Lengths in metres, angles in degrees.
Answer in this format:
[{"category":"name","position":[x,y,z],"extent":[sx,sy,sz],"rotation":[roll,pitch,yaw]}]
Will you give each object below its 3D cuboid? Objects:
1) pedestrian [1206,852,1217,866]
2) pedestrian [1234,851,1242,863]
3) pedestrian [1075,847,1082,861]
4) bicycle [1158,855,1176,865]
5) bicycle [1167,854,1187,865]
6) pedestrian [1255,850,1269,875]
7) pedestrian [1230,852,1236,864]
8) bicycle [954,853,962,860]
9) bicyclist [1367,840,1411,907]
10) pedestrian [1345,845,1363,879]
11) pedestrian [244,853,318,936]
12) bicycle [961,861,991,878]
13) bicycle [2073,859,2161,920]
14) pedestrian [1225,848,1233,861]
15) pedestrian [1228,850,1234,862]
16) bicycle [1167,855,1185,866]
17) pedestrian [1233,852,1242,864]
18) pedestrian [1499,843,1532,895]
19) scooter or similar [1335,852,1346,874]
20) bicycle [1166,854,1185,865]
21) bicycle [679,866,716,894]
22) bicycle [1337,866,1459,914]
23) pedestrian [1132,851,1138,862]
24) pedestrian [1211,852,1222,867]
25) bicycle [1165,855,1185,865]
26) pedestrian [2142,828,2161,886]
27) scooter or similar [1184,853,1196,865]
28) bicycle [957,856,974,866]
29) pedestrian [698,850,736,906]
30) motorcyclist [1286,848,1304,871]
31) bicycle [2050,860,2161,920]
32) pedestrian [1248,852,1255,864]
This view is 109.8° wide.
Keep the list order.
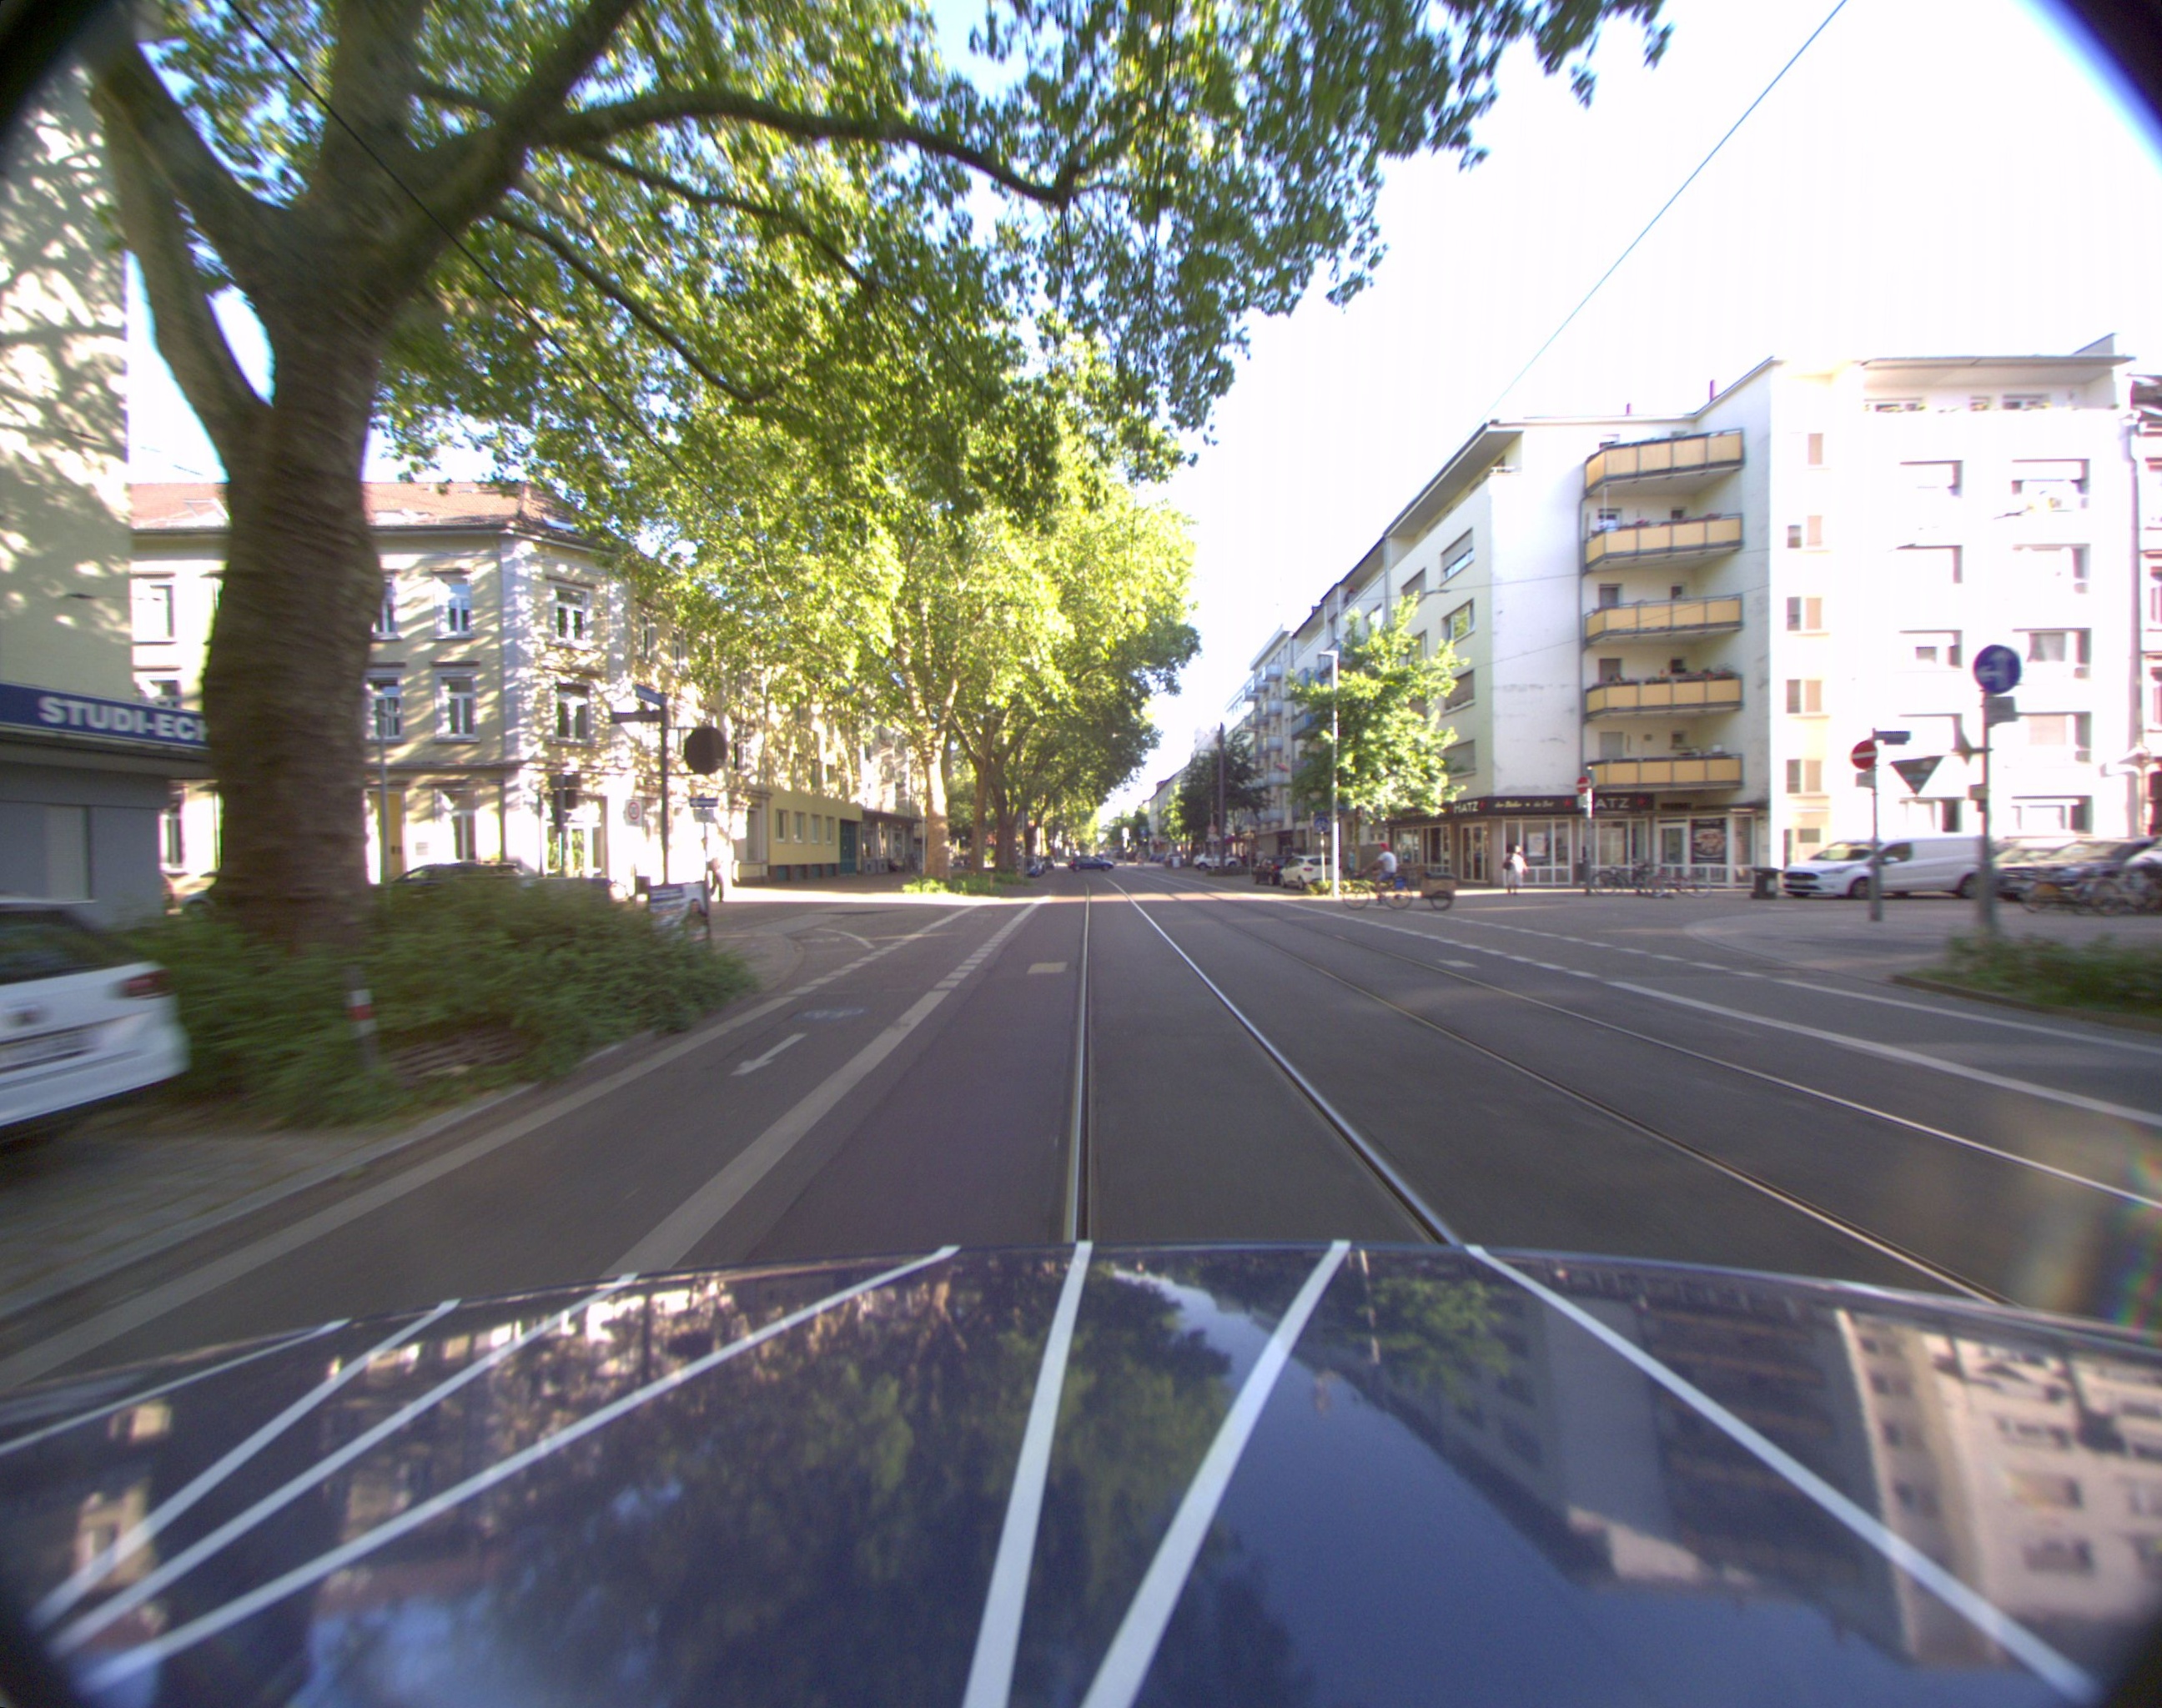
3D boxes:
[{"category":"pedestrian","position":[11.872,0.477,69.286],"extent":[0.715,1.290,0.746],"rotation":[-1,1,-13]},{"category":"pedestrian","position":[15.822,0.310,76.544],"extent":[0.514,1.191,0.562],"rotation":[-1,1,-28]},{"category":"pedestrian","position":[-0.294,-0.015,88.326],"extent":[0.759,1.661,0.768],"rotation":[0,1,-5]},{"category":"bicycle","position":[8.881,0.585,78.392],"extent":[1.696,1.001,0.657],"rotation":[-2,1,-4]},{"category":"bicycle","position":[9.403,0.551,74.692],"extent":[1.834,1.001,0.657],"rotation":[-2,1,-4]},{"category":"pedestrian","position":[12.407,0.568,52.157],"extent":[0.765,1.681,0.794],"rotation":[-1,1,-1]},{"category":"pedestrian","position":[15.735,0.406,78.795],"extent":[0.513,1.191,0.564],"rotation":[0,1,2]},{"category":"bicycle","position":[-20.718,0.381,128.190],"extent":[0.707,1.150,2.039],"rotation":[1,1,10]},{"category":"bicyclist","position":[8.056,0.502,19.867],"extent":[0.872,1.694,0.909],"rotation":[-1,1,34]},{"category":"pedestrian","position":[13.934,0.395,38.798],"extent":[0.665,1.681,0.748],"rotation":[-1,1,-1]},{"category":"pedestrian","position":[-16.341,0.814,15.534],"extent":[0.748,1.635,0.666],"rotation":[-1,1,2]},{"category":"bicycle","position":[-6.779,1.010,48.966],"extent":[1.964,1.000,0.512],"rotation":[2,1,26]},{"category":"bicycle","position":[20.541,0.682,14.843],"extent":[1.754,1.150,0.584],"rotation":[1,1,-8]},{"category":"pedestrian","position":[17.089,0.034,87.772],"extent":[0.727,1.547,0.768],"rotation":[0,1,-5]},{"category":"pedestrian","position":[15.886,0.209,80.478],"extent":[0.513,1.191,0.563],"rotation":[-1,1,-15]},{"category":"bicycle","position":[9.168,0.644,73.344],"extent":[1.696,1.001,0.657],"rotation":[-2,1,-4]},{"category":"pedestrian","position":[15.920,0.413,77.411],"extent":[0.603,1.191,0.690],"rotation":[-1,1,-34]},{"category":"pedestrian","position":[14.283,0.484,24.997],"extent":[0.665,1.681,0.748],"rotation":[-1,1,-1]},{"category":"scooter or similar","position":[15.269,0.512,44.713],"extent":[0.376,1.282,1.237],"rotation":[1,1,8]},{"category":"bicycle","position":[9.550,0.584,76.911],"extent":[1.834,1.001,0.657],"rotation":[-2,1,-4]},{"category":"bicycle","position":[-16.243,1.095,32.260],"extent":[0.584,1.097,1.922],"rotation":[1,1,0]},{"category":"bicycle","position":[8.217,0.902,19.768],"extent":[2.797,1.150,0.923],"rotation":[-1,1,34]},{"category":"pedestrian","position":[7.451,0.342,104.821],"extent":[0.655,1.576,0.772],"rotation":[-1,1,1]},{"category":"pedestrian","position":[12.129,0.486,68.043],"extent":[0.715,1.290,0.911],"rotation":[-1,1,-13]},{"category":"bicycle","position":[9.453,0.593,76.472],"extent":[1.834,1.001,0.657],"rotation":[-2,1,-4]},{"category":"pedestrian","position":[33.576,0.082,23.373],"extent":[0.834,1.790,0.766],"rotation":[-1,1,-3]},{"category":"scooter or similar","position":[10.951,0.500,76.466],"extent":[1.082,1.169,0.498],"rotation":[-2,1,-1]},{"category":"bicycle","position":[-13.530,0.834,88.954],"extent":[1.799,1.150,0.744],"rotation":[1,1,-21]},{"category":"pedestrian","position":[-12.479,0.805,26.088],"extent":[0.768,1.856,1.188],"rotation":[0,1,-3]},{"category":"motorcyclist","position":[13.455,0.361,47.758],"extent":[0.875,1.432,1.016],"rotation":[0,1,2]},{"category":"bicycle","position":[20.527,0.712,15.202],"extent":[1.754,1.150,0.584],"rotation":[1,1,-8]},{"category":"pedestrian","position":[16.830,0.382,75.173],"extent":[0.563,1.191,0.624],"rotation":[0,1,0]}]
